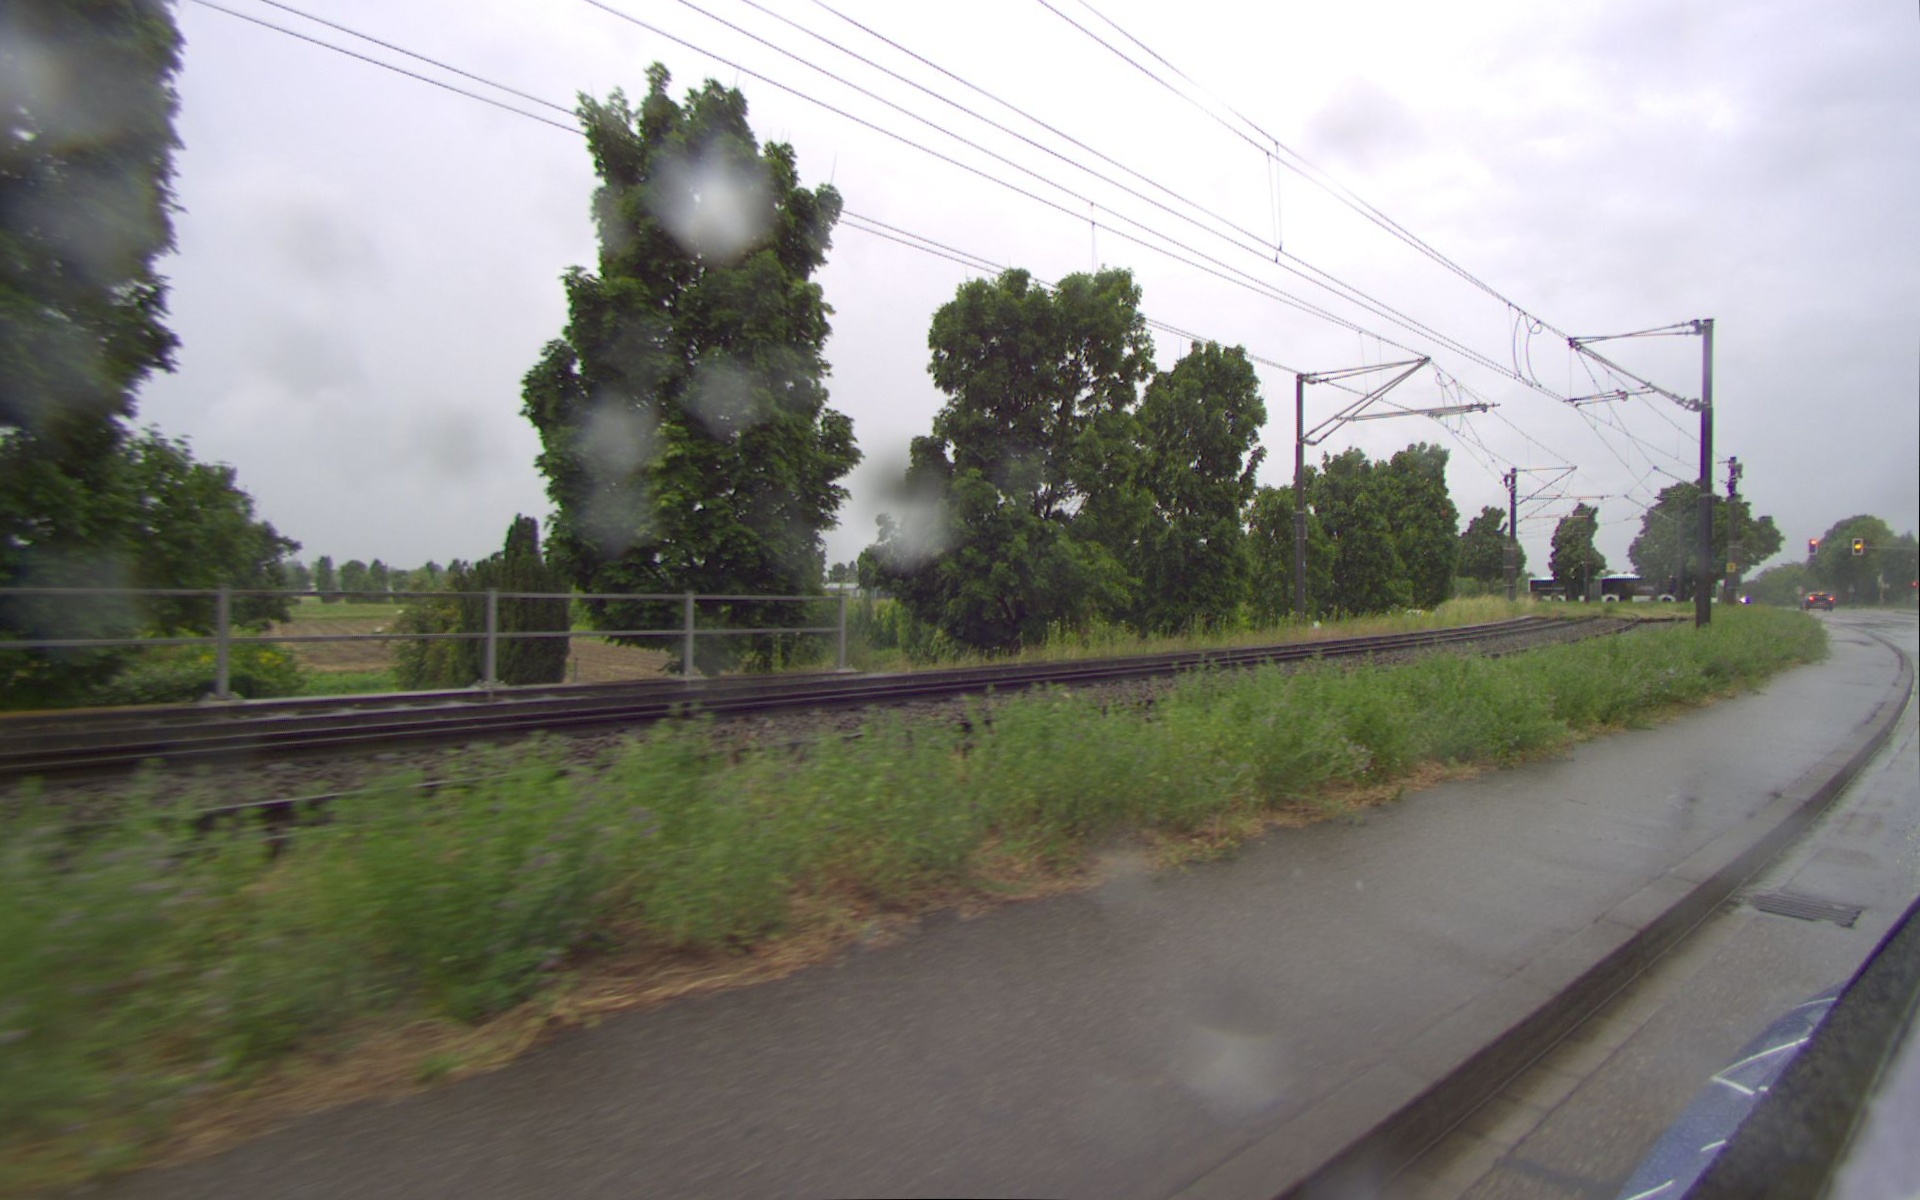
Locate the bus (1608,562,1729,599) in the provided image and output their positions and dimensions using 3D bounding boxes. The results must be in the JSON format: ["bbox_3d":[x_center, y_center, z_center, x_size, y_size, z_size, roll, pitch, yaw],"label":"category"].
[{"bbox_3d":[63.110,-1.720,90.564,2.623,3.116,10.011,-1,1,-9],"label":"bus"}]

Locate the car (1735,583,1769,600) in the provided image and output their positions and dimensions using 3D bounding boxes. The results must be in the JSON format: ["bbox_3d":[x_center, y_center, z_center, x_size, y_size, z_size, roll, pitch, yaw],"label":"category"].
[{"bbox_3d":[97.720,-1.010,124.869,3.920,2.039,1.924,-1,0,-29],"label":"car"}]

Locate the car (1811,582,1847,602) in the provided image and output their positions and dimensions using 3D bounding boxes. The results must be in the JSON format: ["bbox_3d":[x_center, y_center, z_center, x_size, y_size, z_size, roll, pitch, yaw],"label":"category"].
[{"bbox_3d":[71.826,-0.700,83.698,1.755,1.556,3.831,1,1,33],"label":"car"}]

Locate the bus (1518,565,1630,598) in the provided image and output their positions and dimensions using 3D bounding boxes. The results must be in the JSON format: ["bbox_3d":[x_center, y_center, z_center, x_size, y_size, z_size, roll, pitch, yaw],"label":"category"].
[{"bbox_3d":[60.566,-1.809,100.164,2.622,3.116,10.015,-1,1,-20],"label":"bus"}]
